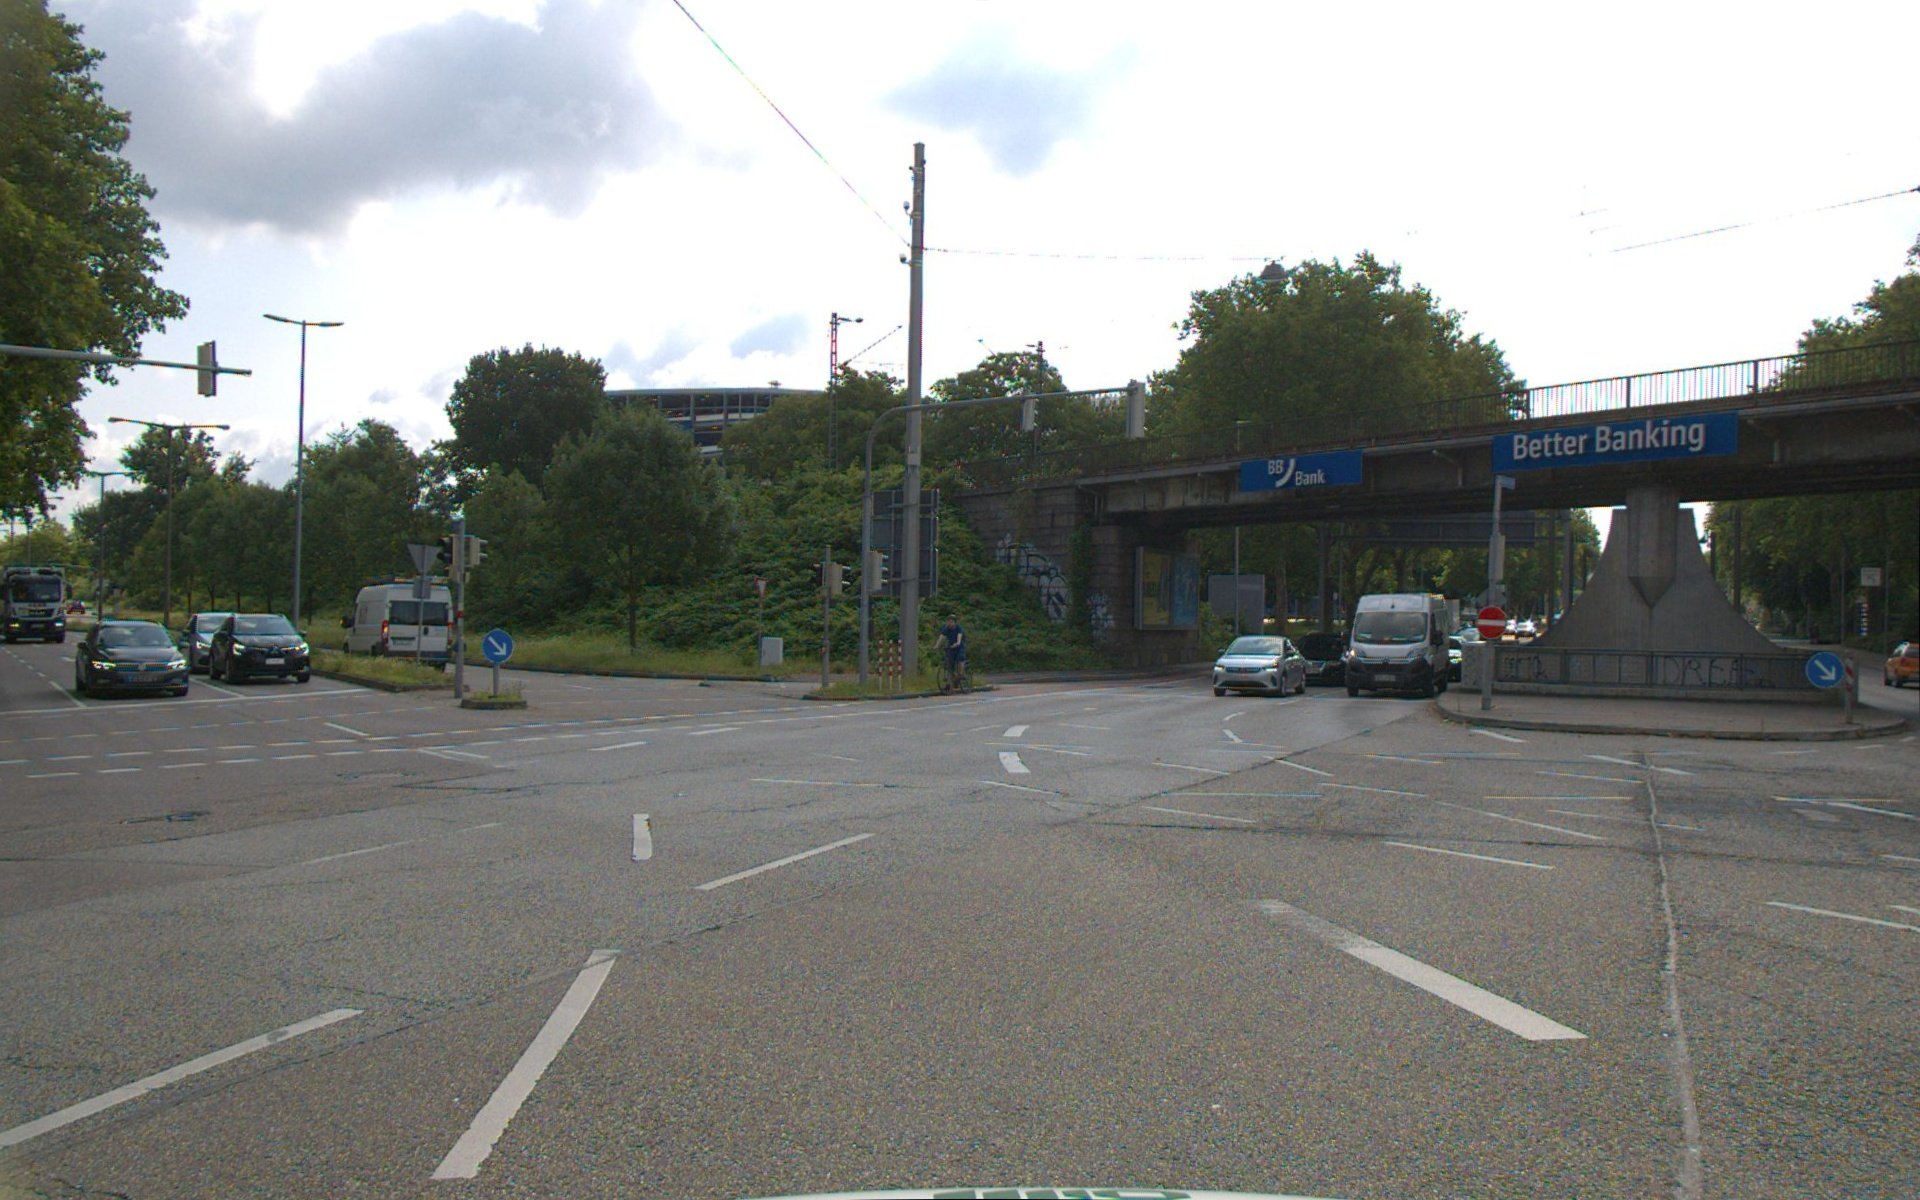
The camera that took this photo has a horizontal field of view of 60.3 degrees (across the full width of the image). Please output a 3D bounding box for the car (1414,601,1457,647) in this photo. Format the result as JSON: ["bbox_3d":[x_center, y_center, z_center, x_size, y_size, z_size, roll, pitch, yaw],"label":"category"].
[{"bbox_3d":[29.927,1.534,103.984,2.198,2.623,5.628,-5,-3,18],"label":"car"}]

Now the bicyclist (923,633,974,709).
[{"bbox_3d":[-0.266,1.651,38.677,0.827,1.708,0.822,-4,-2,30],"label":"bicyclist"}]

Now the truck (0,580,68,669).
[{"bbox_3d":[-44.535,1.143,79.131,2.624,3.956,10.049,2,-1,-31],"label":"truck"}]

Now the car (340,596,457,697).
[{"bbox_3d":[-16.539,1.324,48.583,2.177,2.774,4.876,-1,-1,-32],"label":"car"}]

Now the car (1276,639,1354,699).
[{"bbox_3d":[10.368,1.970,48.119,1.728,1.611,4.665,-1,-1,18],"label":"car"}]

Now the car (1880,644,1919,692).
[{"bbox_3d":[33.040,2.334,57.366,1.741,1.585,3.995,-2,-2,27],"label":"car"}]

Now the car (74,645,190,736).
[{"bbox_3d":[-17.085,1.794,34.011,1.846,1.601,4.521,-1,0,-30],"label":"car"}]

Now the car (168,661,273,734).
[{"bbox_3d":[-19.753,2.567,44.104,1.975,1.758,3.954,-1,-2,-33],"label":"car"}]

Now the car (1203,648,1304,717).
[{"bbox_3d":[7.240,1.968,40.523,1.667,1.502,4.000,1,0,21],"label":"car"}]

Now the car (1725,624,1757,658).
[{"bbox_3d":[50.537,2.655,107.102,1.763,2.161,3.764,-2,-2,24],"label":"car"}]

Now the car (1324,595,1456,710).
[{"bbox_3d":[10.891,1.277,41.547,2.213,2.570,5.624,-4,-2,23],"label":"car"}]

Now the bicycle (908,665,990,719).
[{"bbox_3d":[-0.237,2.133,38.689,0.827,1.112,2.314,-4,-2,29],"label":"bicycle"}]

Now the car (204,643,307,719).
[{"bbox_3d":[-16.640,1.853,38.957,1.690,1.615,4.316,-1,0,-31],"label":"car"}]
